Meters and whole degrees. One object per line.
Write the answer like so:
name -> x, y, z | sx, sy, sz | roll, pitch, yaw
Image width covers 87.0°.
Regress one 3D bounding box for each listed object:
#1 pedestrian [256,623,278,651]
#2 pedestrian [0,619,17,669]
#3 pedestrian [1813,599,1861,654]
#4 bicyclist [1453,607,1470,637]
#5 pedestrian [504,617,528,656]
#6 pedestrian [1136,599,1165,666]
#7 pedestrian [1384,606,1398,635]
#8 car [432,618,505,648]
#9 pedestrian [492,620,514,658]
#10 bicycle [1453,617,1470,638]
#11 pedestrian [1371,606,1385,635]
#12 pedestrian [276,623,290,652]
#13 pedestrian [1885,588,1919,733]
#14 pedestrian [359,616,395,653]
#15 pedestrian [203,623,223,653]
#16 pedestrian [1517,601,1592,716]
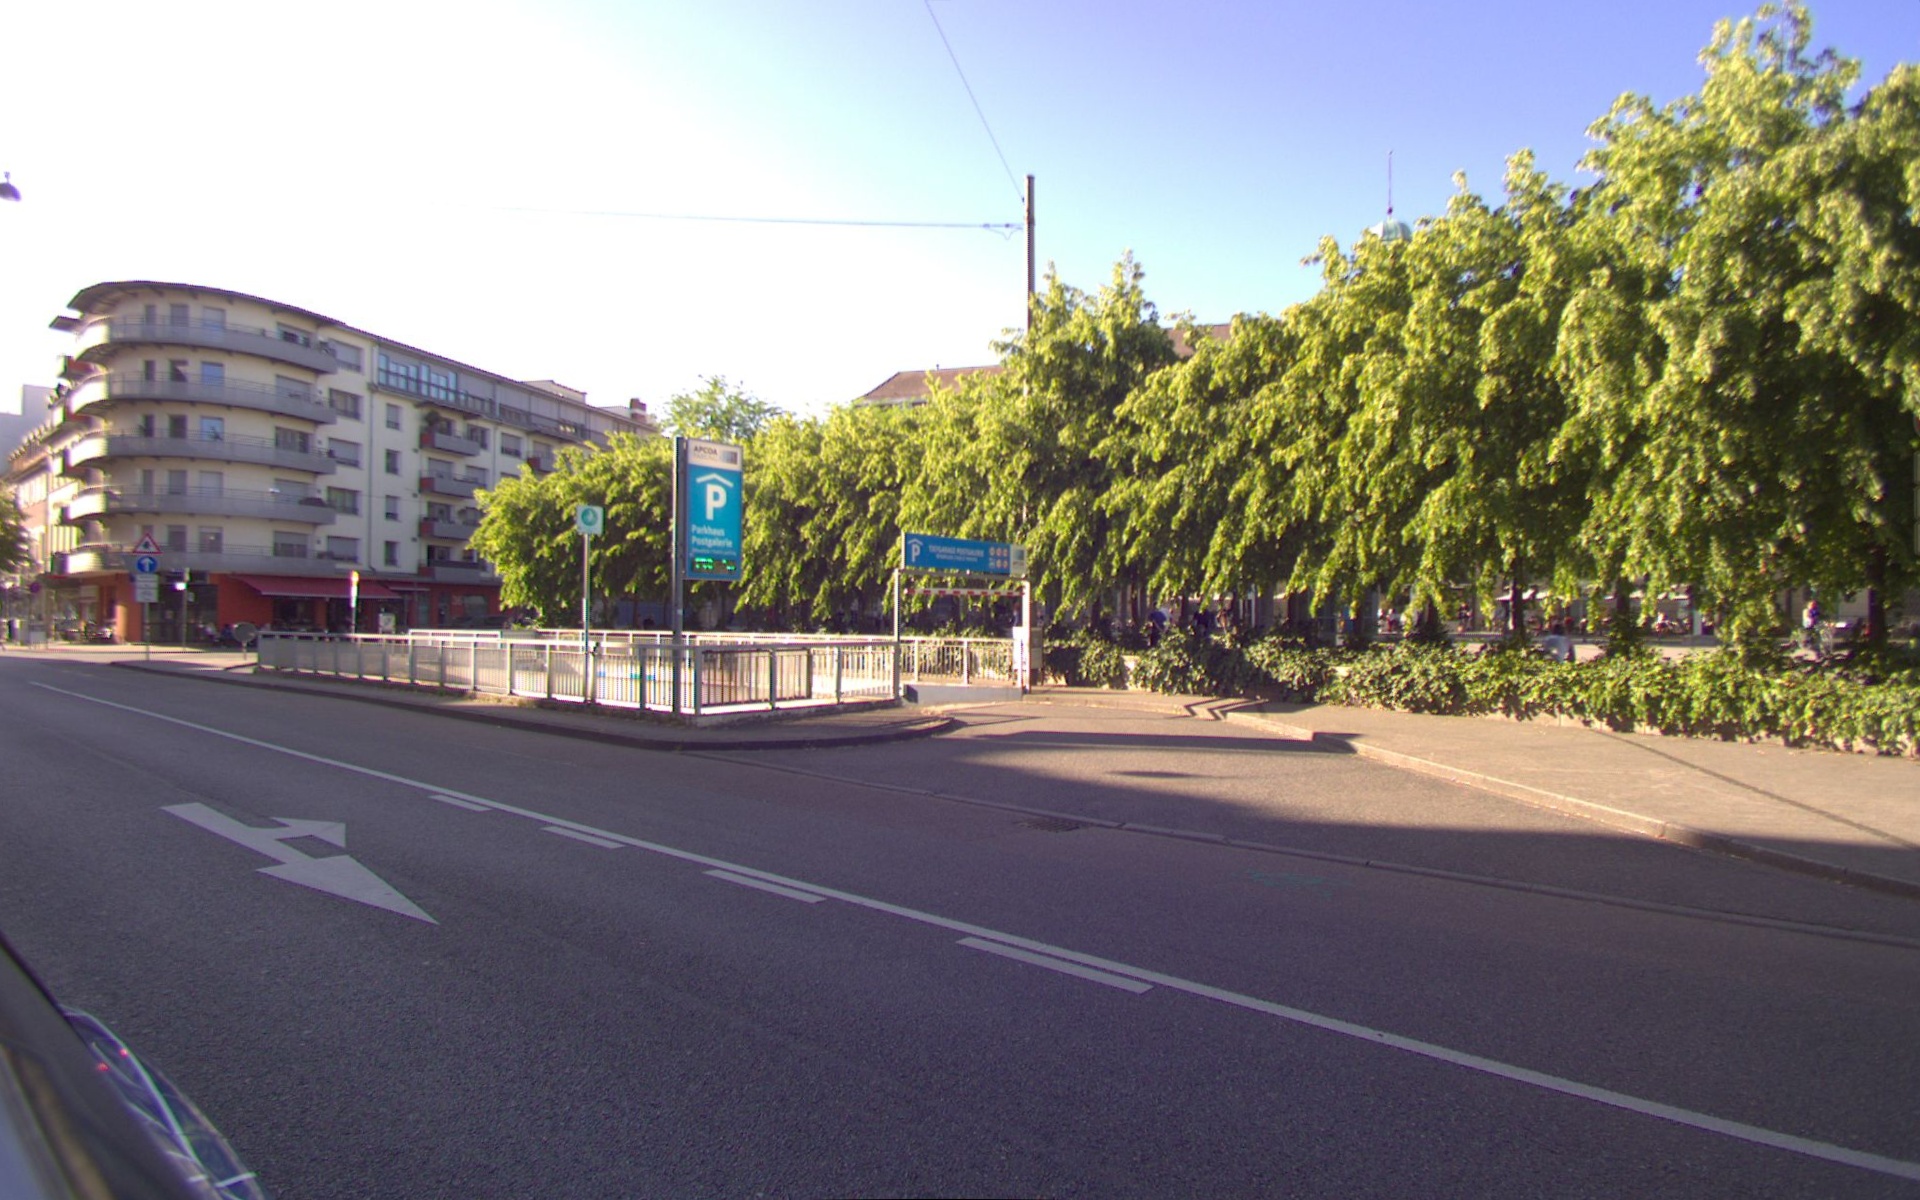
pedestrian -> -36.982, 1.950, 54.005 | 0.782, 1.473, 0.582 | 0, -1, 3
pedestrian -> -39.839, 1.802, 41.637 | 1.006, 2.029, 1.200 | -1, 0, -1
pedestrian -> 28.620, 0.860, 33.033 | 0.889, 1.771, 0.734 | -1, -1, 10
bicyclist -> 23.898, 1.049, 48.196 | 0.671, 1.439, 0.691 | -1, -1, 31
pedestrian -> -20.846, 1.717, 47.503 | 0.753, 1.819, 0.748 | -1, -1, 25
pedestrian -> 4.856, 0.813, 25.807 | 0.672, 1.683, 0.843 | -1, -1, 13
pedestrian -> 28.492, 1.344, 66.888 | 0.751, 1.948, 0.938 | -1, -1, 20
car -> -30.773, 2.050, 63.437 | 1.983, 1.763, 3.977 | -1, -1, 17
pedestrian -> -21.120, 1.779, 46.764 | 0.697, 1.719, 0.667 | -1, -1, 33
bicycle -> 23.887, 1.291, 48.174 | 0.587, 0.961, 1.887 | -1, -1, 30
pedestrian -> 27.773, 1.363, 67.214 | 0.751, 1.948, 0.938 | -1, -1, 20
pedestrian -> -35.562, 1.947, 53.125 | 0.573, 1.501, 0.794 | 0, -1, -36
pedestrian -> 12.124, 0.744, 12.595 | 0.885, 1.771, 0.738 | 0, -1, -39
pedestrian -> -32.674, 1.935, 56.737 | 1.251, 2.029, 1.226 | -1, -1, 19
pedestrian -> -37.984, 1.913, 51.435 | 0.780, 1.472, 0.583 | 0, -1, -40
pedestrian -> 9.523, 0.911, 16.209 | 0.885, 1.771, 0.738 | 0, -1, -39
